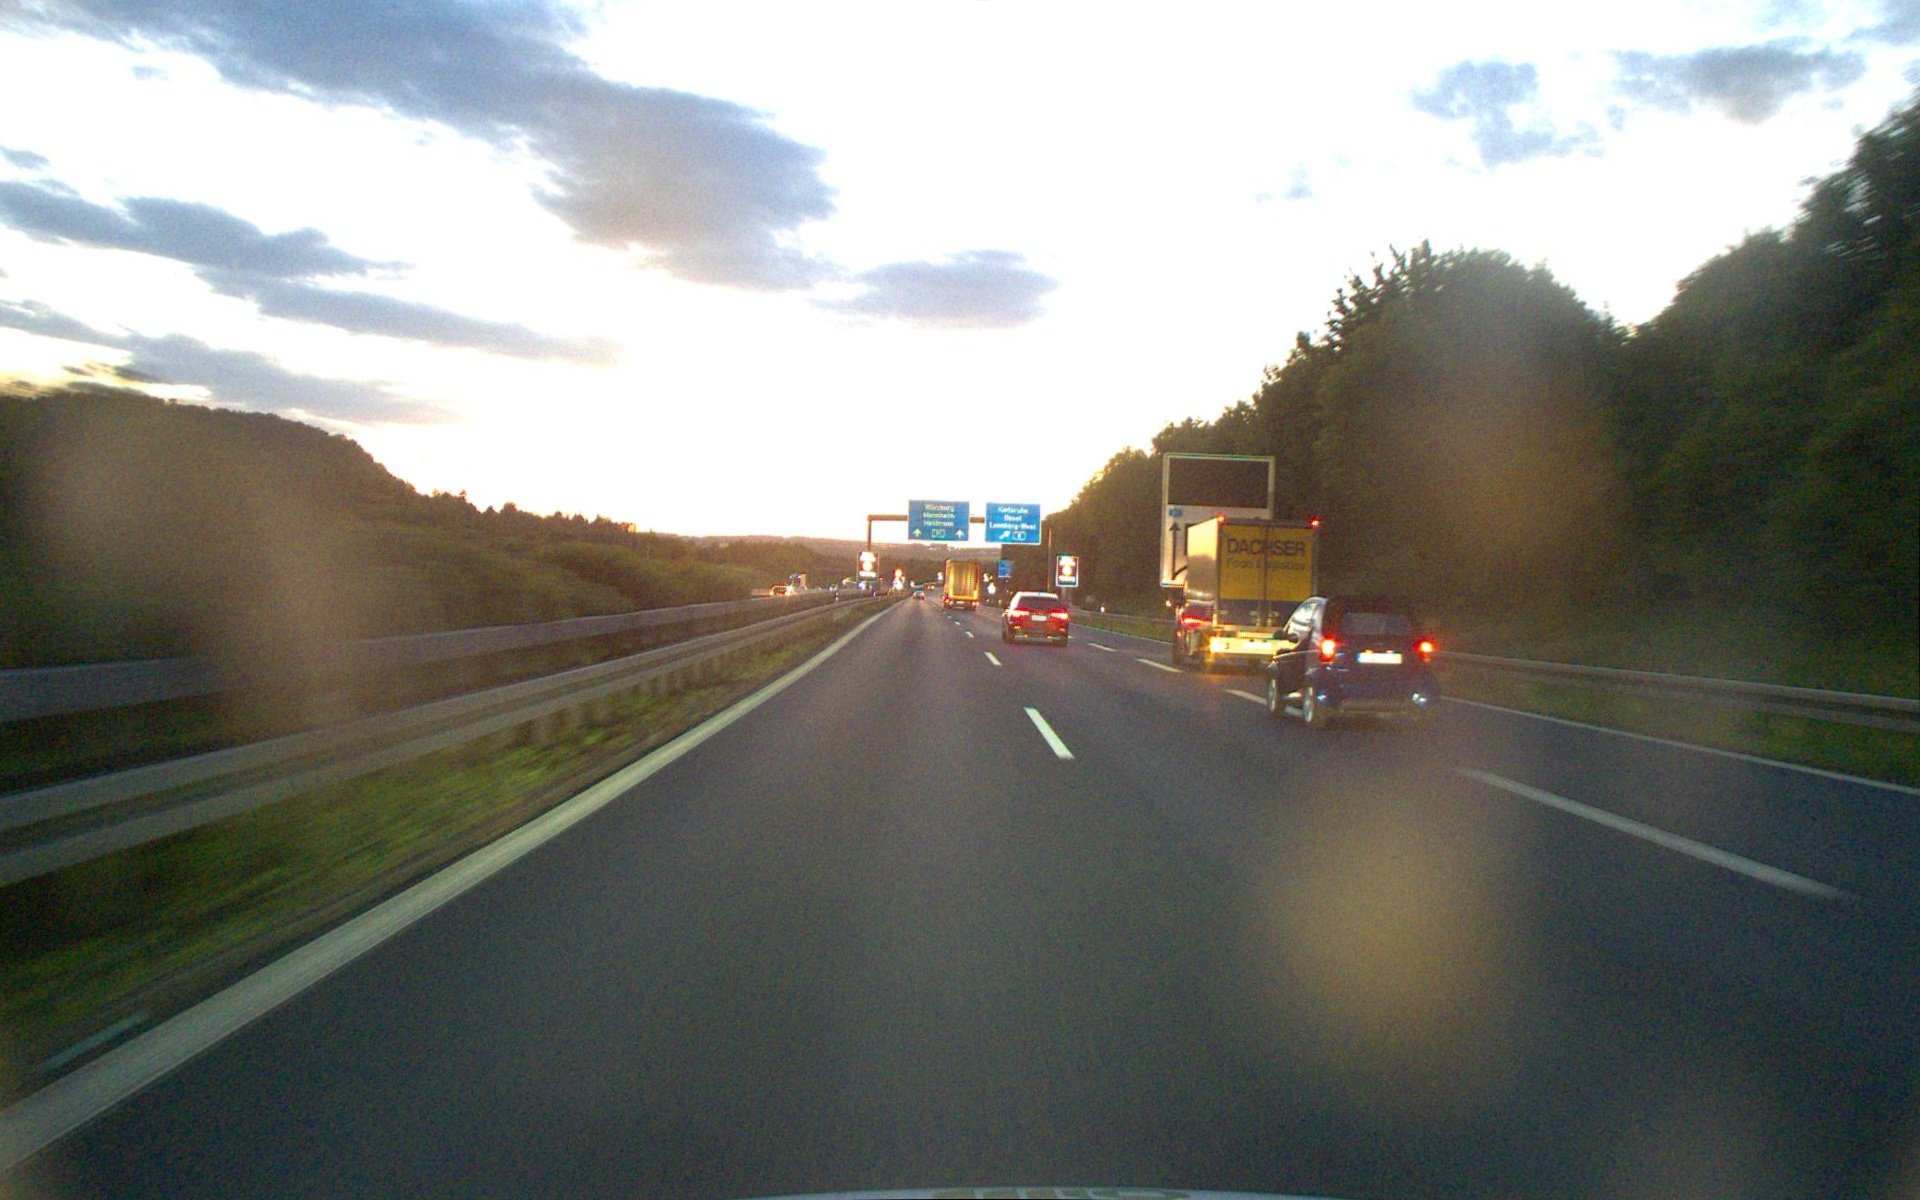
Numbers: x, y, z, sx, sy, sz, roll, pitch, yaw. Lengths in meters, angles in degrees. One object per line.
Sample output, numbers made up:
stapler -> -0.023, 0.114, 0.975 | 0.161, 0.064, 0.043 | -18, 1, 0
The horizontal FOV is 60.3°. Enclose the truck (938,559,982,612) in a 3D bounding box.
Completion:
truck -> -0.061, -1.204, 142.773 | 3.439, 4.376, 9.887 | 1, 0, -2

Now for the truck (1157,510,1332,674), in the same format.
truck -> 5.898, -0.170, 35.279 | 2.223, 3.023, 6.629 | 4, 0, -2

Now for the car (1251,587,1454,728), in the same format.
car -> 4.772, 0.662, 20.527 | 1.578, 1.583, 3.317 | 1, 0, -3

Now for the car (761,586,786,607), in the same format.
car -> -15.555, -0.288, 138.168 | 1.678, 1.634, 3.721 | 1, 0, -2

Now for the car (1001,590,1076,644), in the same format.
car -> 2.240, 0.486, 48.228 | 1.876, 1.467, 3.999 | 1, 0, -2
